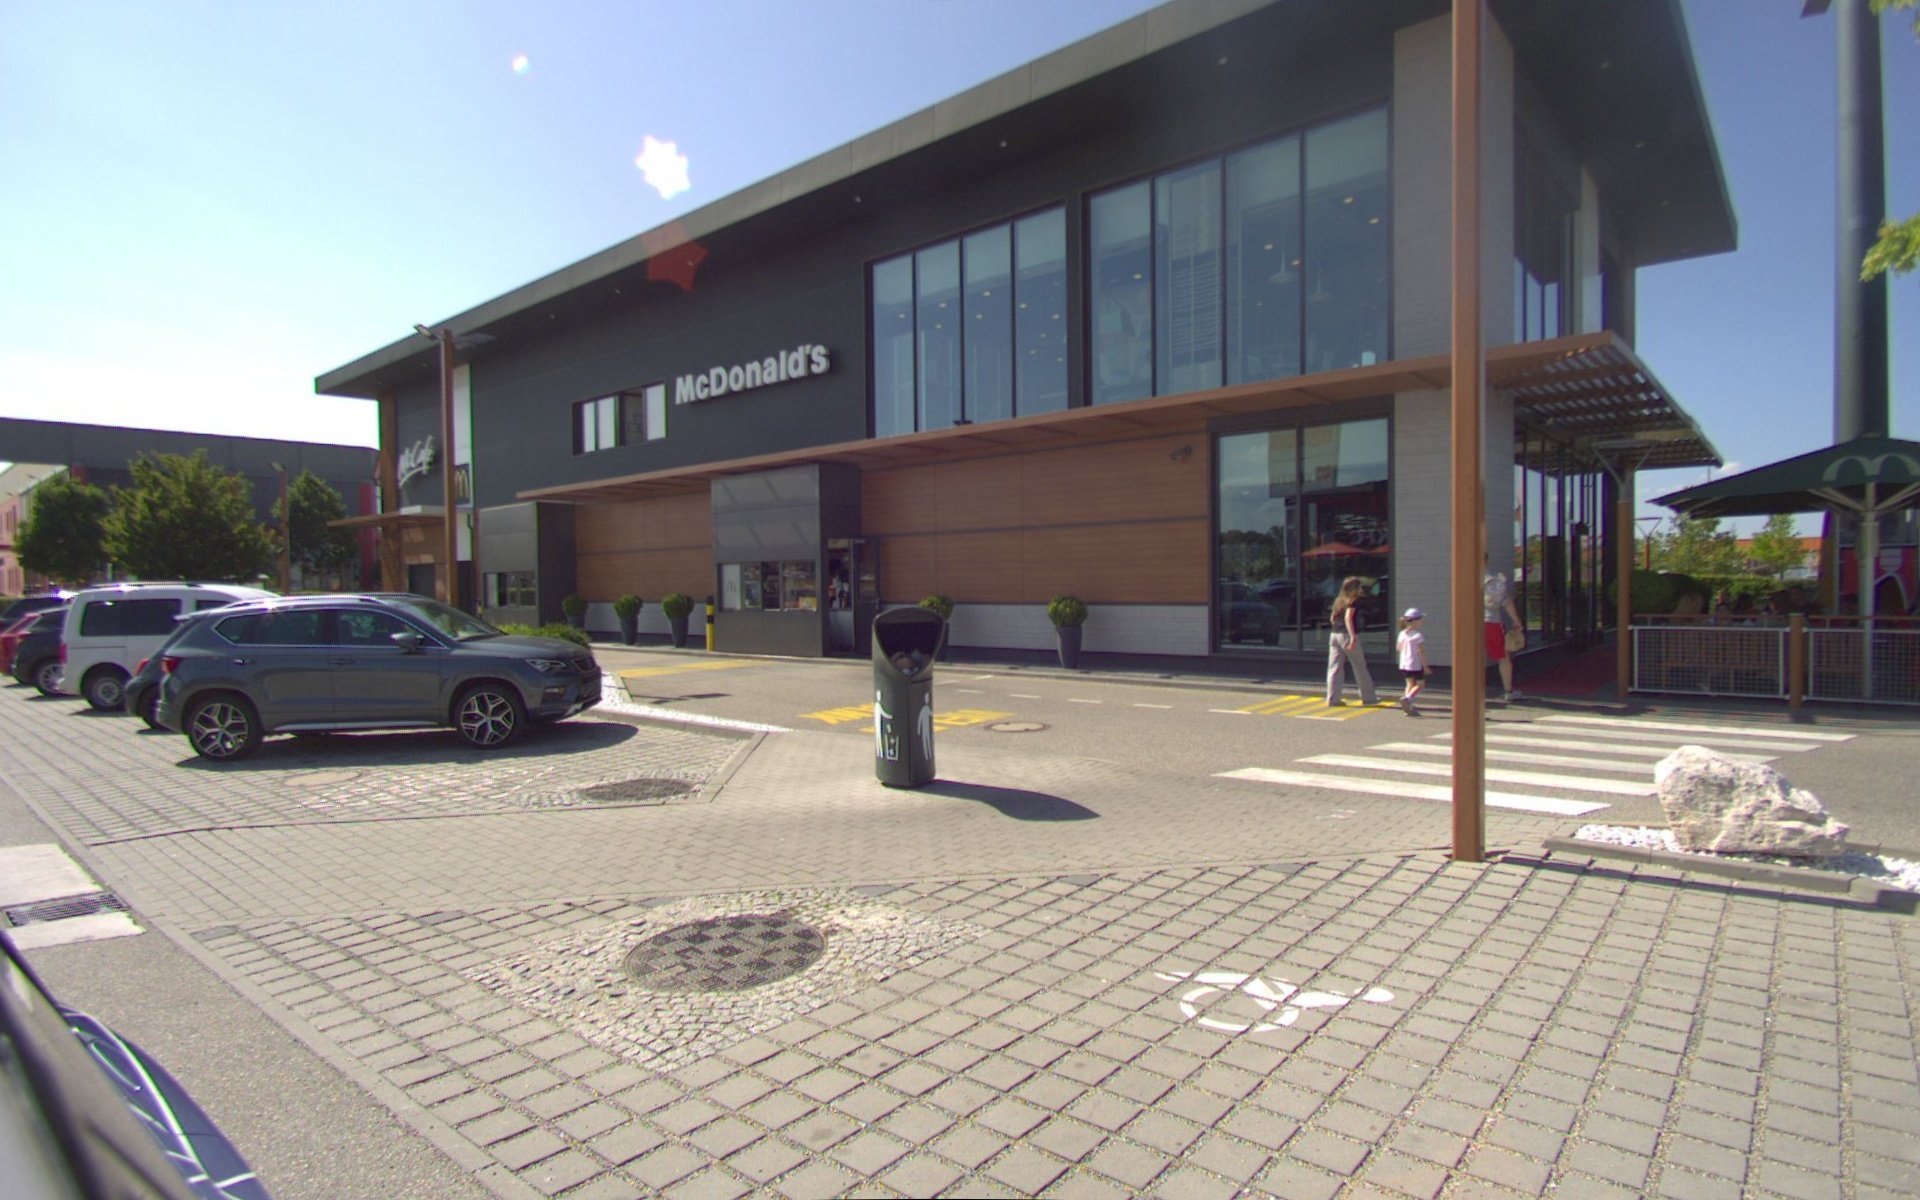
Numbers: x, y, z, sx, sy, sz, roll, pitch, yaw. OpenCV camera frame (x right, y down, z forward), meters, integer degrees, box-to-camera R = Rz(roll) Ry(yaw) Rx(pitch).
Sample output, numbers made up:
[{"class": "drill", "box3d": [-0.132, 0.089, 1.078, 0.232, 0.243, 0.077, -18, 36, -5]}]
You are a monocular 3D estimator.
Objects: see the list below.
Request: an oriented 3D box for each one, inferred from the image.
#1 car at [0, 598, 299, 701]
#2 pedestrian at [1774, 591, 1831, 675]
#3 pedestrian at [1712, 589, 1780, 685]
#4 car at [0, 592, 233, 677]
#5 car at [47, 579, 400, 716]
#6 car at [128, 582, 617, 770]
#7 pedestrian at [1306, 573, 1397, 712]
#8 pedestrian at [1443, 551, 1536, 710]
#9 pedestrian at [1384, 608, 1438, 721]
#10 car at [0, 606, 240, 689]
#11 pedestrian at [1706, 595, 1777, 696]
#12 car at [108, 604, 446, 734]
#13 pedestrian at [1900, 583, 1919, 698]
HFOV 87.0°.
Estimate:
[{"class": "car", "box3d": [-14.229, 0.811, 17.988, 3.779, 1.644, 1.763, -1, 0, -15]}, {"class": "pedestrian", "box3d": [11.486, 0.437, 13.805, 0.573, 1.109, 0.648, -1, 0, 40]}, {"class": "pedestrian", "box3d": [9.594, 0.437, 12.373, 0.633, 1.132, 0.518, -1, 0, 37]}, {"class": "car", "box3d": [-19.080, 0.731, 22.883, 3.969, 1.718, 1.680, -1, 1, -21]}, {"class": "car", "box3d": [-11.226, 0.669, 15.717, 4.078, 1.936, 1.762, -1, 0, -9]}, {"class": "car", "box3d": [-6.112, 0.735, 10.978, 4.164, 1.615, 1.793, -3, 3, -4]}, {"class": "pedestrian", "box3d": [4.690, 0.485, 12.123, 0.717, 1.595, 0.743, -1, 0, -39]}, {"class": "pedestrian", "box3d": [6.226, 0.340, 11.883, 0.894, 1.781, 0.794, -1, 0, 32]}, {"class": "pedestrian", "box3d": [4.954, 0.686, 11.102, 0.447, 1.195, 0.486, -1, 0, 35]}, {"class": "car", "box3d": [-17.018, 0.914, 20.443, 3.707, 1.455, 1.680, -2, 1, -21]}, {"class": "pedestrian", "box3d": [9.096, 0.512, 11.795, 0.633, 1.132, 0.518, -1, 0, 37]}, {"class": "car", "box3d": [-8.876, 0.847, 13.419, 3.359, 1.493, 1.572, -1, 0, -11]}, {"class": "pedestrian", "box3d": [10.937, 0.446, 11.254, 0.633, 1.267, 0.518, -1, 0, 37]}]
